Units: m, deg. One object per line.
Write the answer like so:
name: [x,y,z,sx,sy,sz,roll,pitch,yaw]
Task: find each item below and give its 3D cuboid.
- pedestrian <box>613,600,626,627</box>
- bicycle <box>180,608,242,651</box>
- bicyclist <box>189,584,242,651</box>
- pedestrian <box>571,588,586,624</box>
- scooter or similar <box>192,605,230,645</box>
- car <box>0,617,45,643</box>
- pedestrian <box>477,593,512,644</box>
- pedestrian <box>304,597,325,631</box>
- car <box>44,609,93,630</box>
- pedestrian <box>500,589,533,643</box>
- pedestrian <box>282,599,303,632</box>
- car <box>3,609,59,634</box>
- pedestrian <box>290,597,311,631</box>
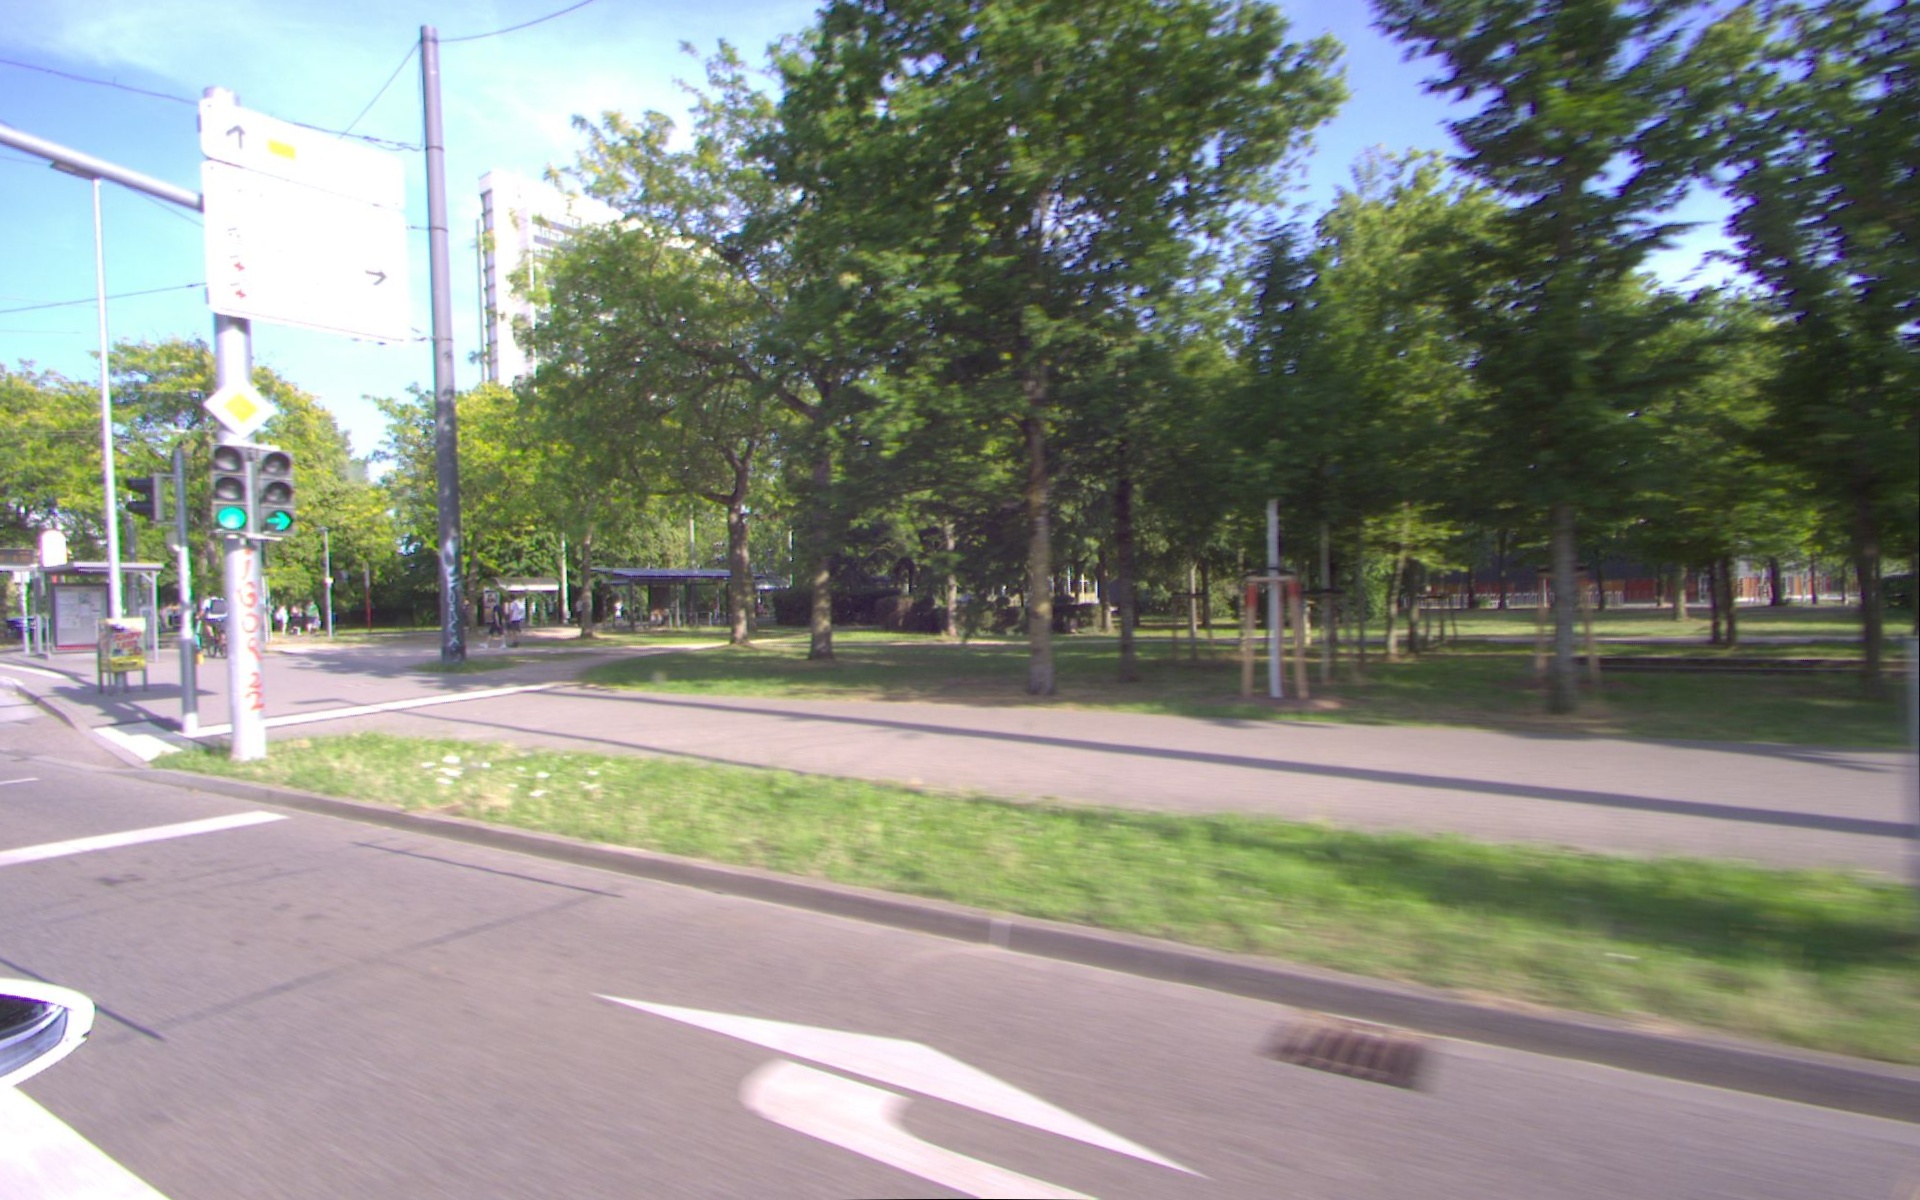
pedestrian: [-23.269,0.906,68.397,0.667,1.823,0.605,1,-2,-44]
bicycle: [-20.392,0.793,27.243,1.912,1.103,0.639,-1,3,32]
bicyclist: [-20.122,0.471,27.055,1.123,1.770,0.647,-1,4,31]
pedestrian: [-20.481,0.332,53.779,0.594,1.891,0.462,0,-1,2]
scooter or similar: [-23.749,0.798,31.763,1.115,1.248,0.351,-1,1,18]
car: [-60.153,1.890,63.668,1.831,1.536,3.981,-3,1,-28]
pedestrian: [-16.455,0.653,35.414,0.863,1.800,0.673,0,-1,13]
pedestrian: [-32.339,0.708,50.182,0.681,1.687,0.639,0,1,32]
car: [-67.994,1.466,76.444,1.832,1.536,3.980,-3,1,-29]
pedestrian: [-16.049,0.587,36.259,0.863,1.922,0.673,0,-1,5]
pedestrian: [-33.754,0.793,50.654,0.681,1.632,0.639,-1,1,32]
car: [-63.314,1.429,68.304,1.832,1.536,3.980,-3,1,-29]
pedestrian: [-33.144,0.723,50.330,0.681,1.687,0.639,0,1,32]
